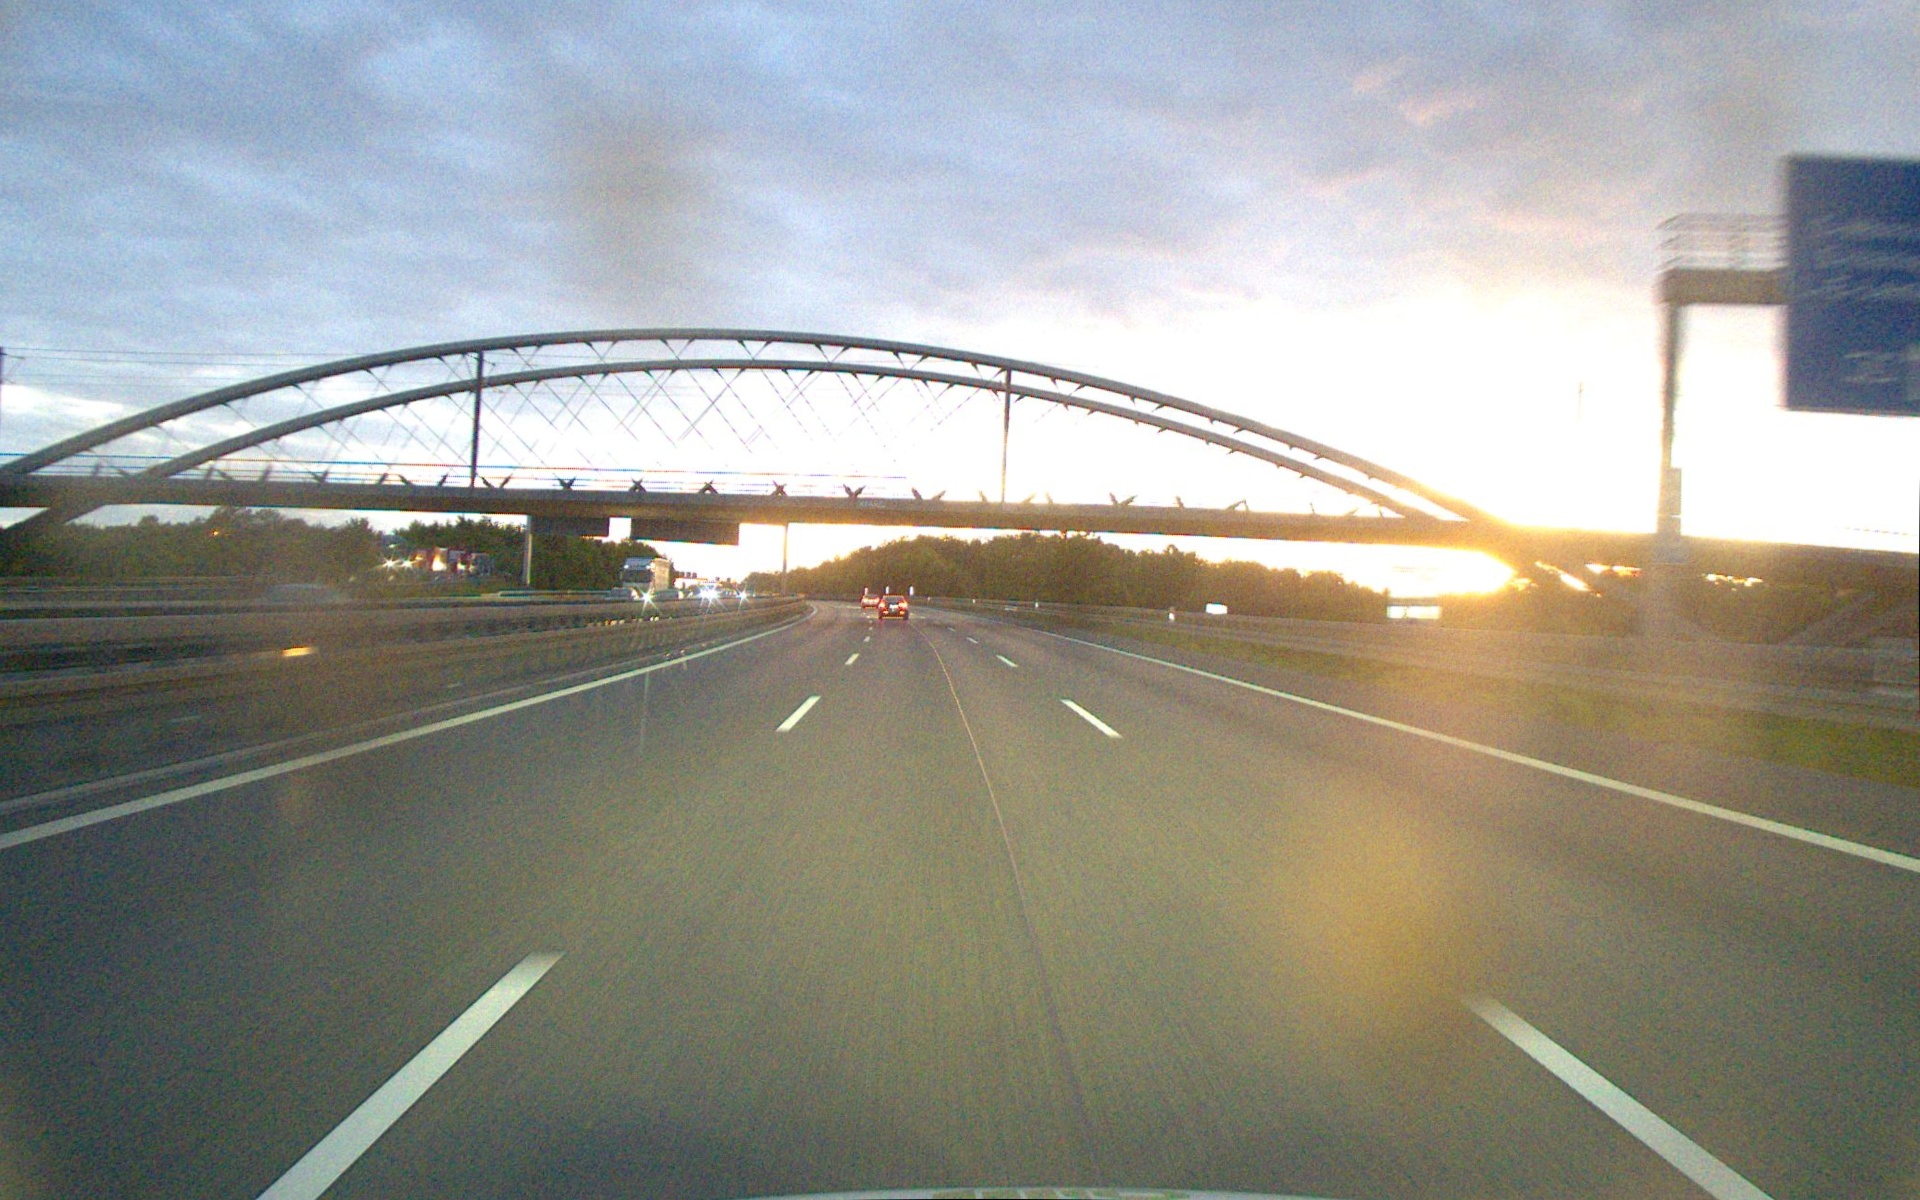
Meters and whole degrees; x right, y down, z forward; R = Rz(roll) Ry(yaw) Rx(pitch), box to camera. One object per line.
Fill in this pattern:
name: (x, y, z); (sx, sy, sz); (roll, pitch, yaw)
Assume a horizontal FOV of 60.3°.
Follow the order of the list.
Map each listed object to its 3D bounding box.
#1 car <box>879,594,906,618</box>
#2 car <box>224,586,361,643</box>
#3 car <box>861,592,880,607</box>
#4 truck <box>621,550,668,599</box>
car: (-4.208, 0.407, 102.846); (1.656, 1.426, 3.406); (1, -1, -3)
car: (-17.696, 0.353, 44.049); (1.953, 1.428, 4.328); (1, 0, -1)
car: (-8.993, -0.008, 166.203); (1.655, 1.426, 3.408); (0, -2, 0)
truck: (-27.750, -2.223, 145.780); (2.769, 4.119, 12.203); (1, 0, -5)
